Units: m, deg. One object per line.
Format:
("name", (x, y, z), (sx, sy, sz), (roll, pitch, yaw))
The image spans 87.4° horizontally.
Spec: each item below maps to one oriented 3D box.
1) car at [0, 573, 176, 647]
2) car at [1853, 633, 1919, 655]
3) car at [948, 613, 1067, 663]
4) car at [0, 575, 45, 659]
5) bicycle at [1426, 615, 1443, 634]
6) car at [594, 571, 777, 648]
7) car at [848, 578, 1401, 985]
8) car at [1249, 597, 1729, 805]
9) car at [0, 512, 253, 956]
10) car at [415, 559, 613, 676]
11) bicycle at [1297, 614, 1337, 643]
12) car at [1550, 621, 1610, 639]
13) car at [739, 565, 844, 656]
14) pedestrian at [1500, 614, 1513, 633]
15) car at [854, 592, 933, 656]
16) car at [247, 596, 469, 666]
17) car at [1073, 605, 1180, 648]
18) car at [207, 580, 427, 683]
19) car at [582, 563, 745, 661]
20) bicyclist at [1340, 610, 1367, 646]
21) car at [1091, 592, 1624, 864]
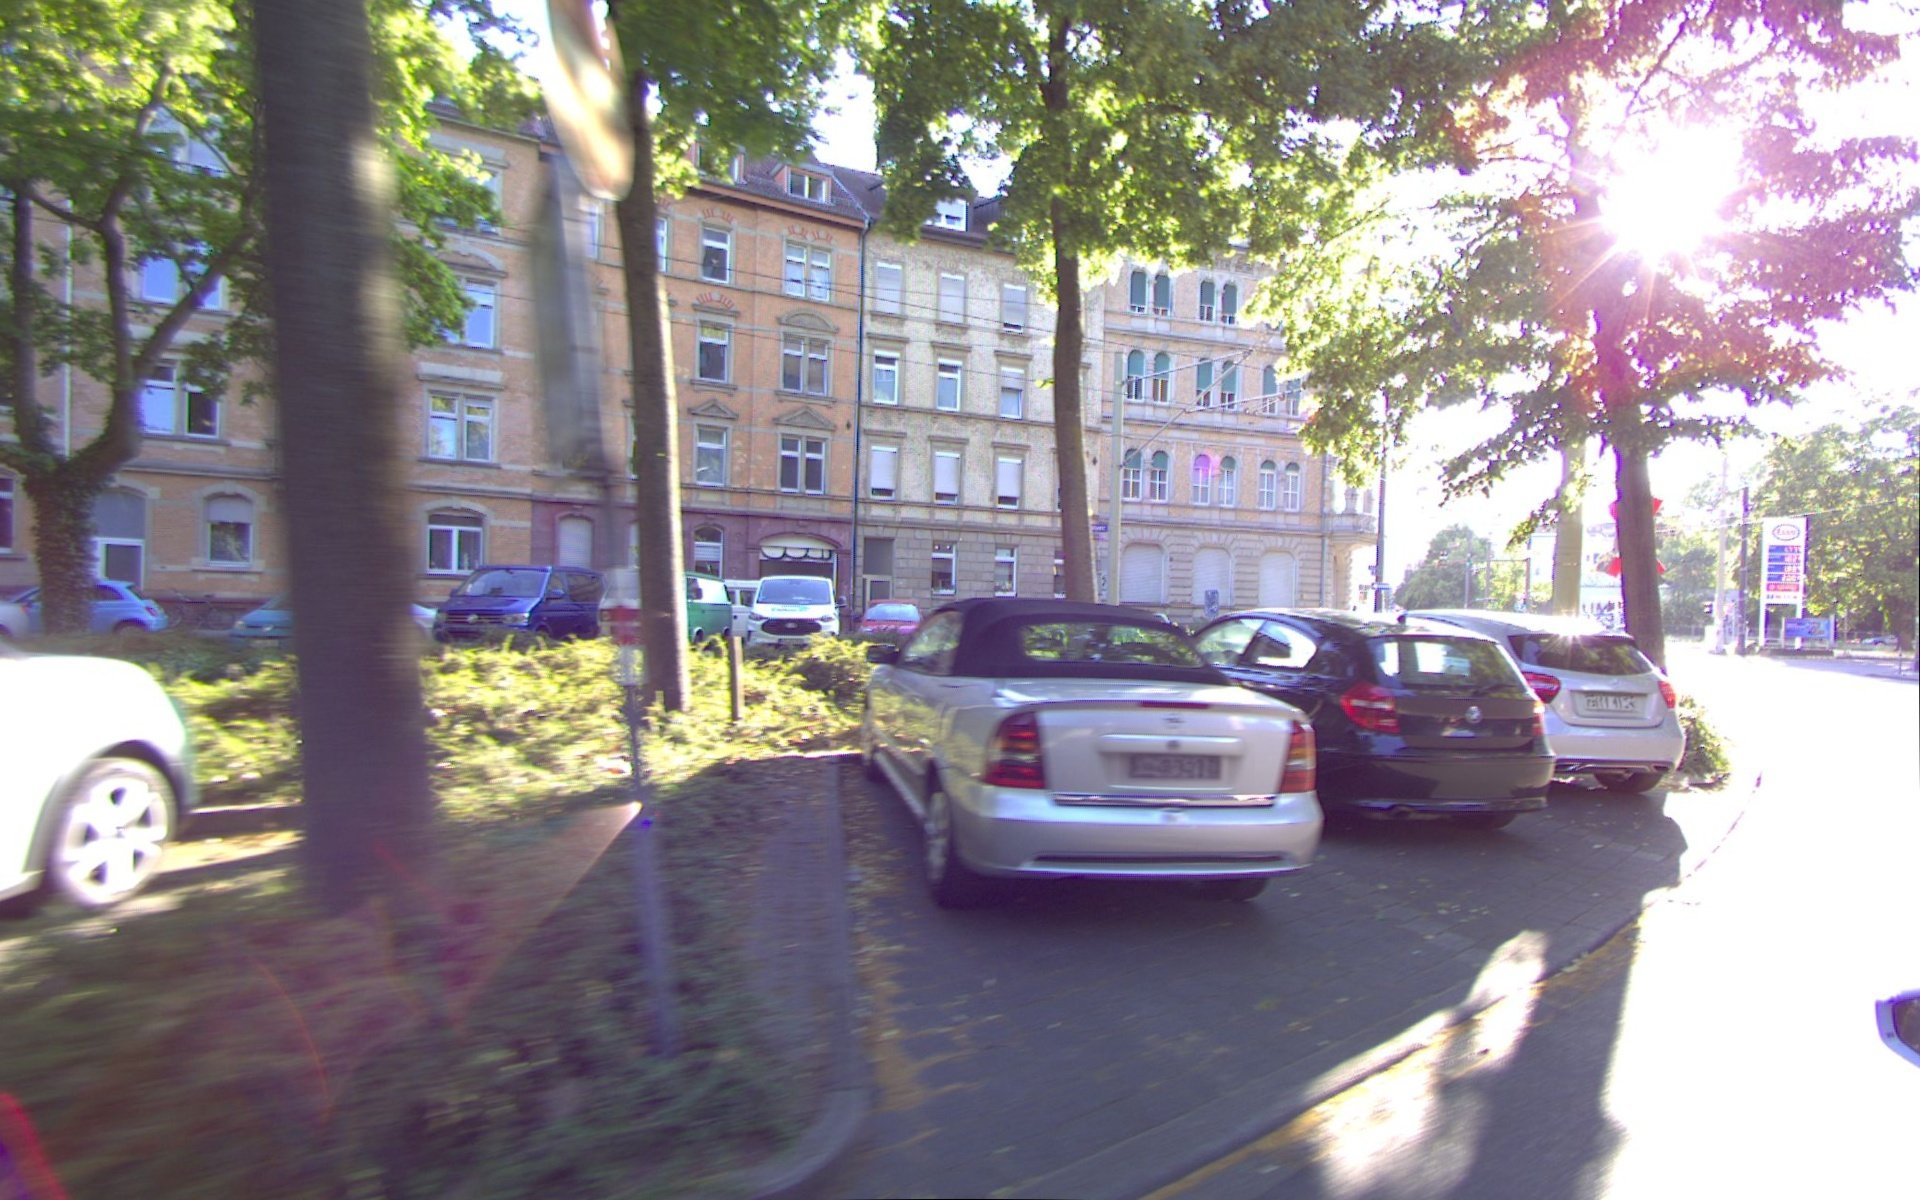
("car", (-20.434, 0.208, 22.736), (4.013, 1.539, 1.841), (1, 3, -31))
("car", (68.177, 3.206, 73.607), (3.937, 1.472, 1.802), (1, 0, 38))
("car", (1.702, 1.311, 35.545), (3.827, 1.584, 1.841), (1, 3, -31))
("car", (-16.748, 0.255, 15.309), (1.562, 1.399, 4.290), (1, 0, 2))
("bicycle", (45.570, 2.358, 96.454), (1.336, 1.830, 0.565), (1, 0, 36))
("car", (-8.121, 0.255, 29.884), (4.943, 2.091, 1.841), (1, 3, -31))
("car", (0.463, 0.662, 5.797), (1.744, 1.383, 3.974), (2, 2, -13))
("car", (4.662, 0.783, 9.721), (1.743, 1.448, 4.284), (2, 1, -12))
("car", (-4.131, 0.448, 2.686), (1.796, 1.514, 3.883), (3, 2, -2))
("car", (-8.665, 0.332, 19.936), (1.960, 2.040, 4.001), (1, 0, 3))
("bicycle", (16.309, 1.302, 45.898), (1.765, 1.222, 0.500), (2, 3, -20))
("car", (56.832, 2.738, 92.167), (4.426, 1.507, 1.771), (1, -1, 42))
("car", (-3.708, 0.233, 22.817), (2.046, 1.788, 5.053), (1, 0, -7))
("pedestrian", (49.411, 2.145, 90.849), (0.911, 1.714, 0.777), (2, 0, 23))
("car", (-1.624, 0.528, 23.606), (1.684, 1.347, 3.630), (1, 0, -6))
("car", (-15.264, 0.738, 25.690), (4.717, 1.562, 1.841), (1, 3, -31))
("car", (6.150, 0.968, 37.260), (3.445, 1.448, 1.846), (1, 3, -23))
("car", (-11.585, 0.536, 18.405), (1.628, 1.662, 3.651), (1, 0, 1))
("car", (-6.076, 0.242, 21.245), (2.044, 1.788, 4.836), (1, 0, -1))
("bicyclist", (17.649, 1.258, 45.055), (0.693, 1.510, 0.590), (7, 3, -24))
("car", (2.569, 0.723, 7.677), (1.744, 1.424, 4.028), (2, 1, -14))
